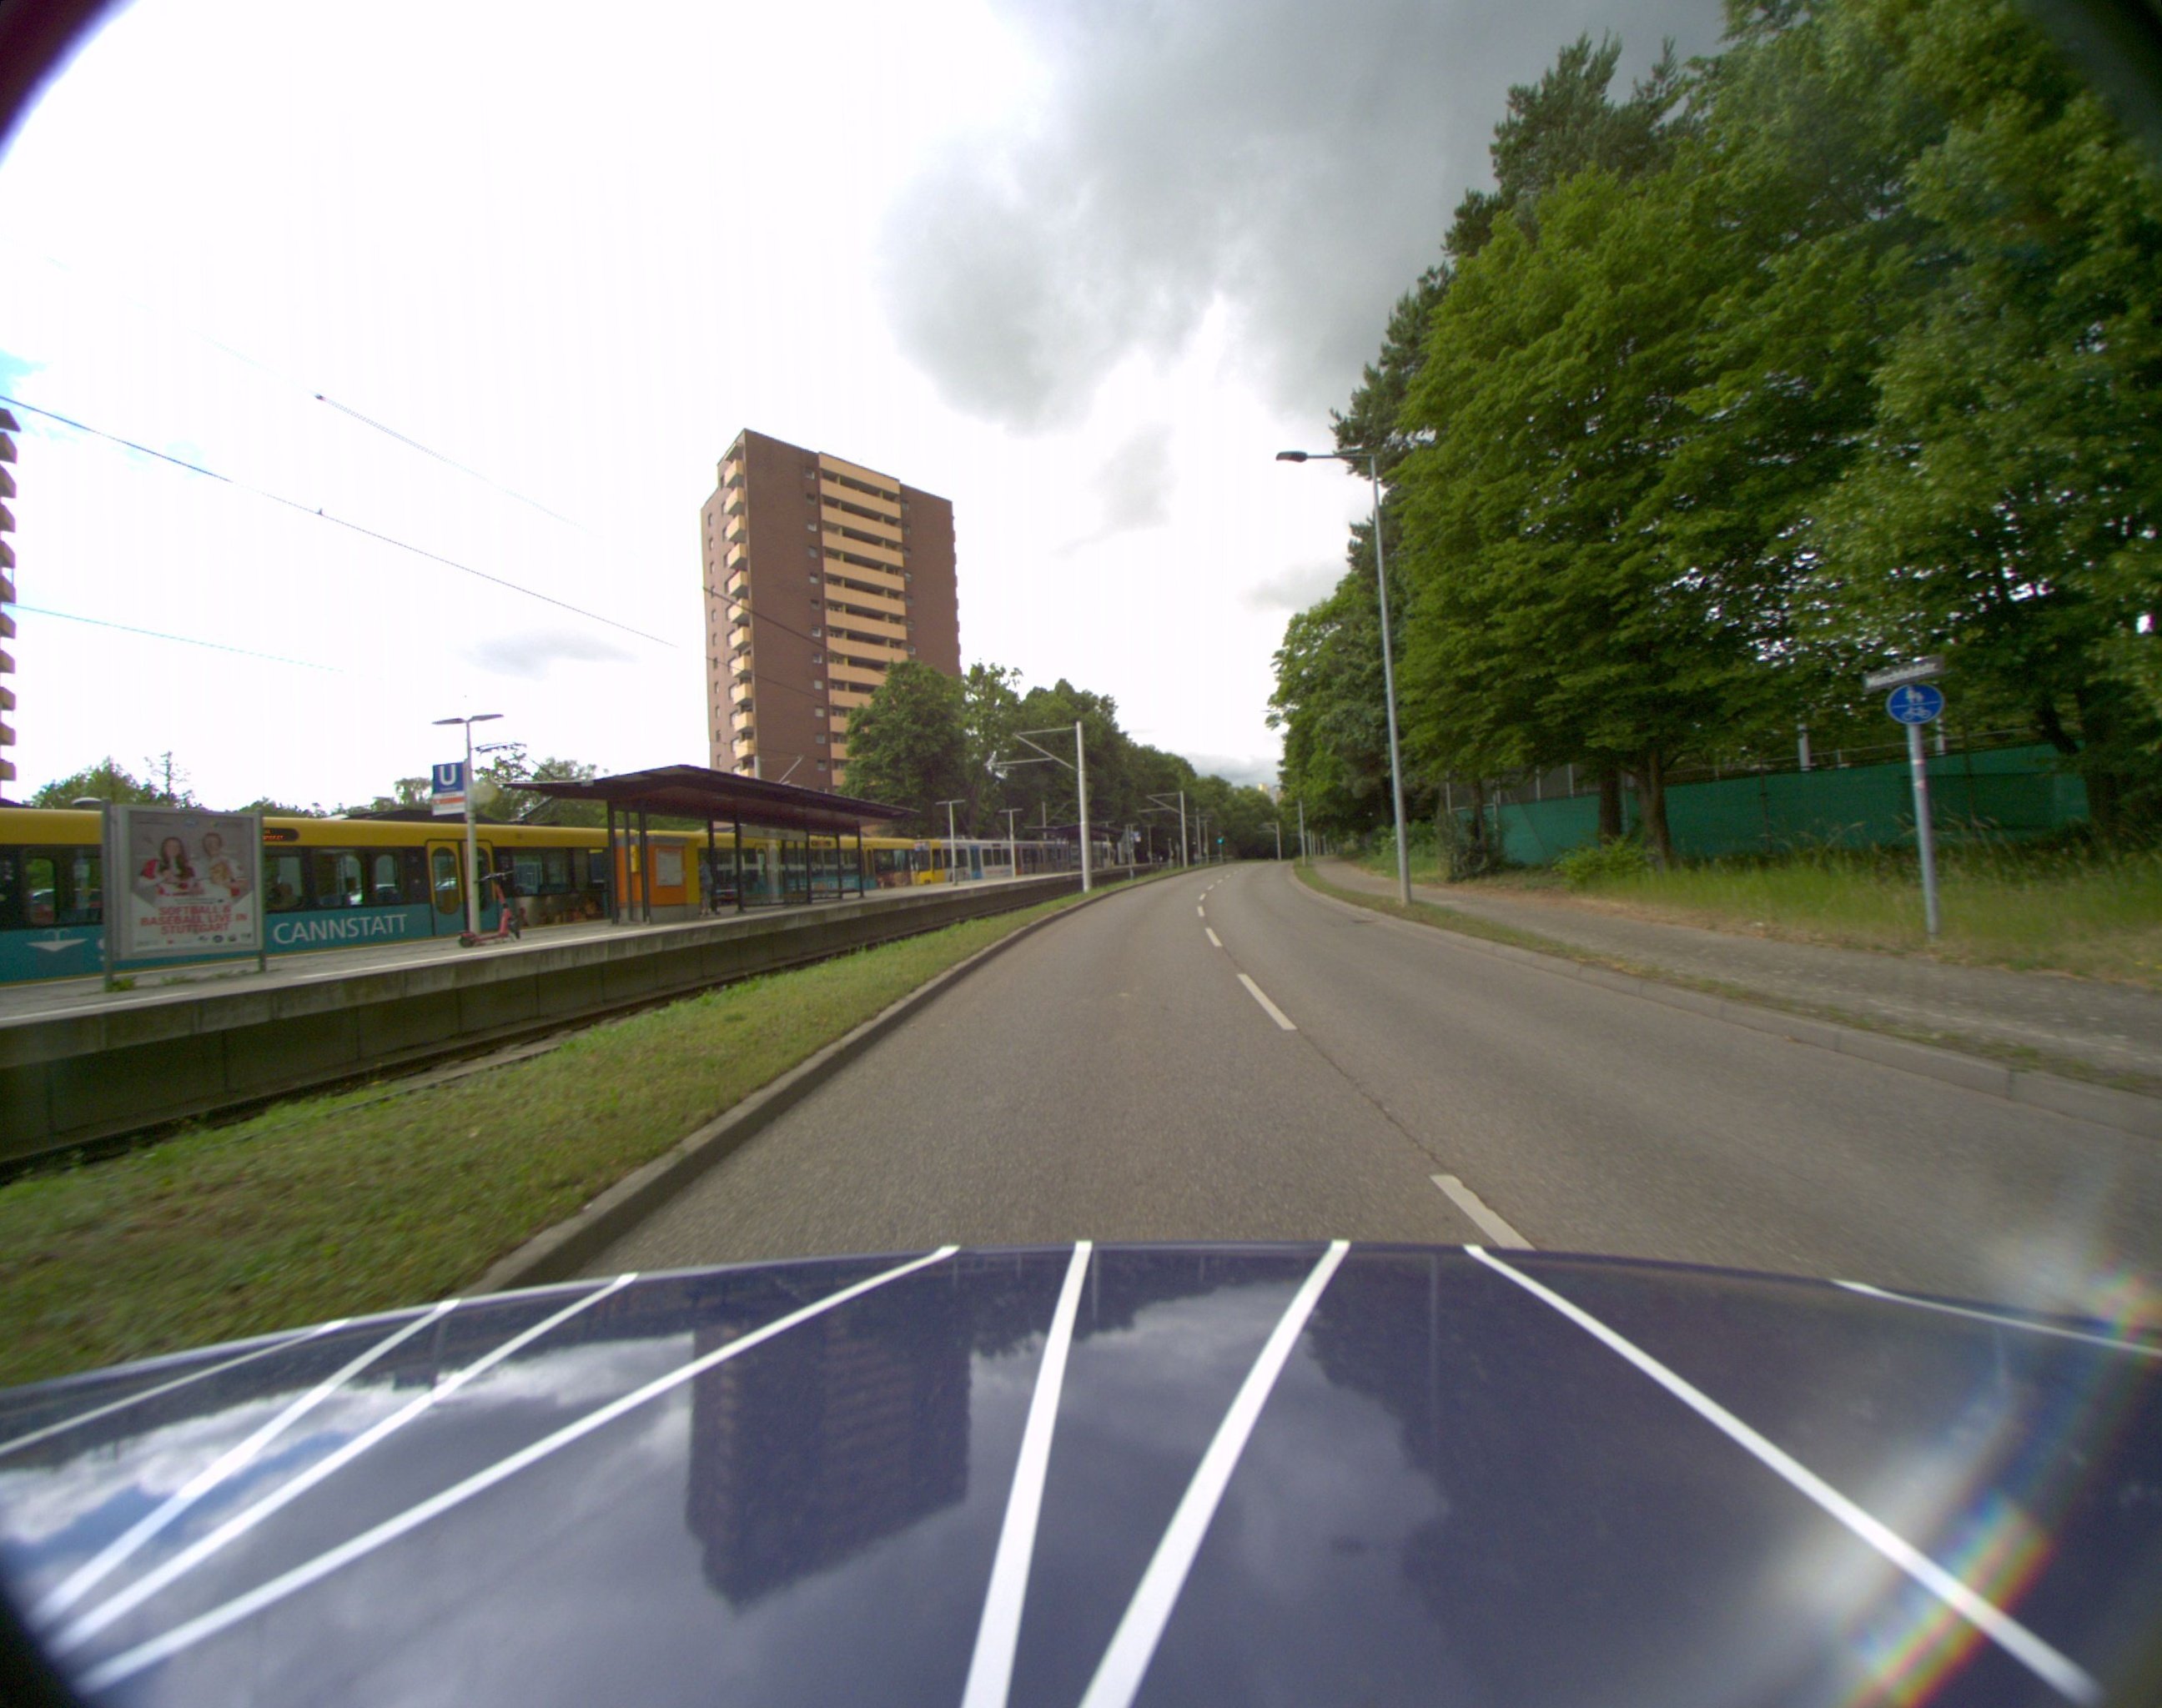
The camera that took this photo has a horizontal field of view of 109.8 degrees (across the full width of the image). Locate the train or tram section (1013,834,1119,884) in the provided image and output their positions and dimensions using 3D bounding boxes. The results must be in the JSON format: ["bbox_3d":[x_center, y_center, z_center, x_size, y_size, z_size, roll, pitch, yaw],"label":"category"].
[{"bbox_3d":[-0.775,0.266,68.487,2.817,3.714,18.557,-5,-1,20],"label":"train or tram section"}]

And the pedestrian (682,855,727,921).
[{"bbox_3d":[-9.294,0.827,18.762,0.623,1.564,0.666,-3,1,29],"label":"pedestrian"}]

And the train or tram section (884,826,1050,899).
[{"bbox_3d":[-6.648,0.405,50.512,2.817,3.776,18.956,-5,-1,17],"label":"train or tram section"}]

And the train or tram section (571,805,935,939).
[{"bbox_3d":[-11.514,0.553,31.774,2.818,3.714,19.532,-5,-1,12],"label":"train or tram section"}]

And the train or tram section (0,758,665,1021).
[{"bbox_3d":[-15.541,0.583,12.606,2.818,3.567,19.532,-5,-1,12],"label":"train or tram section"}]

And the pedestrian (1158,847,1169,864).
[{"bbox_3d":[8.831,0.170,81.564,0.985,1.747,0.730,-5,-1,10],"label":"pedestrian"}]

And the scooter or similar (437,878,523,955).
[{"bbox_3d":[-10.316,1.049,13.078,0.369,1.235,1.147,-3,0,11],"label":"scooter or similar"}]
